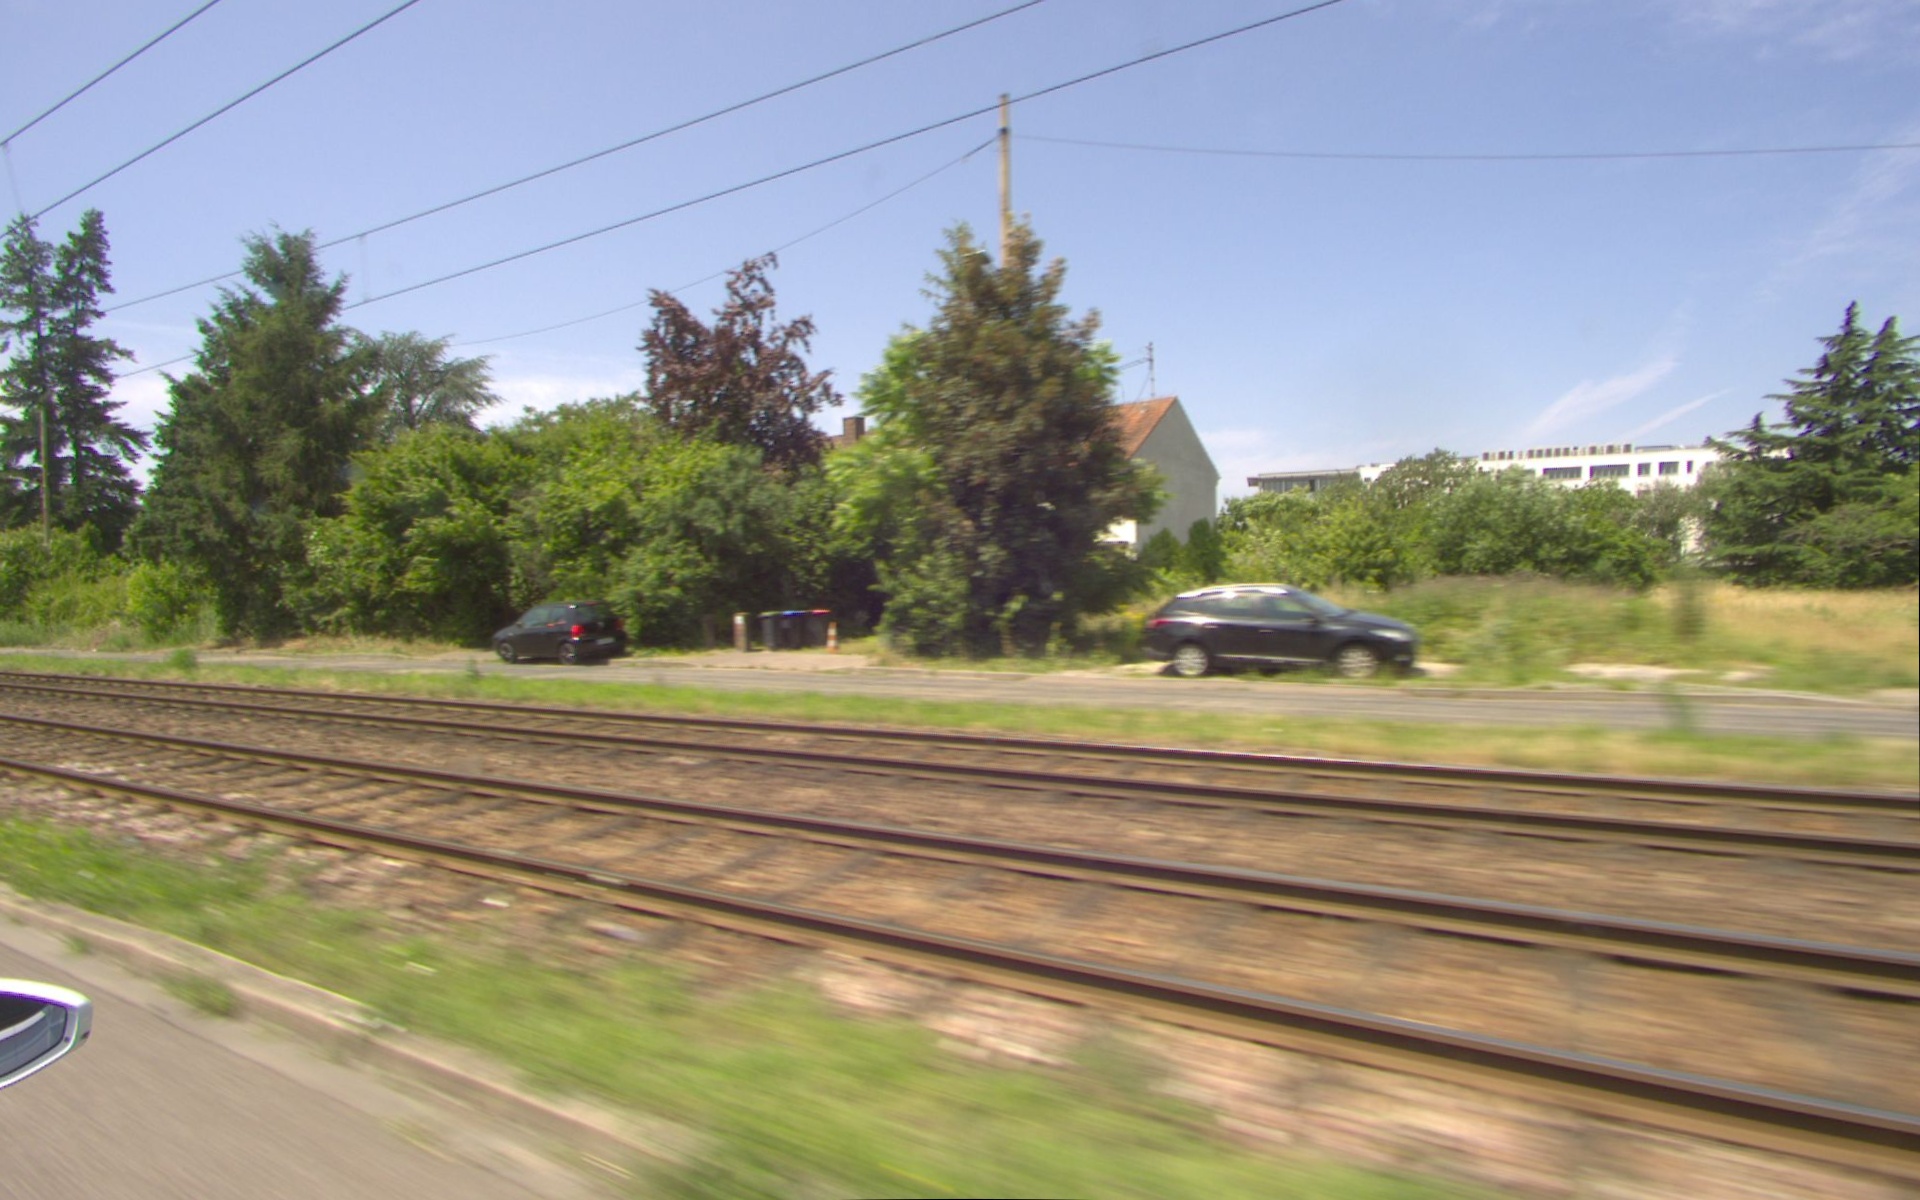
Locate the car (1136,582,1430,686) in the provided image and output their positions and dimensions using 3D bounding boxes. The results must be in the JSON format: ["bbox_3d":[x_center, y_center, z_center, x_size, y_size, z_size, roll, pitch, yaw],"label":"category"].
[{"bbox_3d":[5.468,0.542,17.067,4.488,1.581,1.932,-1,0,30],"label":"car"}]

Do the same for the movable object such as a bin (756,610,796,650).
[{"bbox_3d":[-4.504,0.736,24.517,0.612,0.950,0.722,0,1,32],"label":"movable object such as a bin"}]

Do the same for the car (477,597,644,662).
[{"bbox_3d":[-9.971,0.706,24.955,3.943,1.490,1.910,-1,0,32],"label":"car"}]
